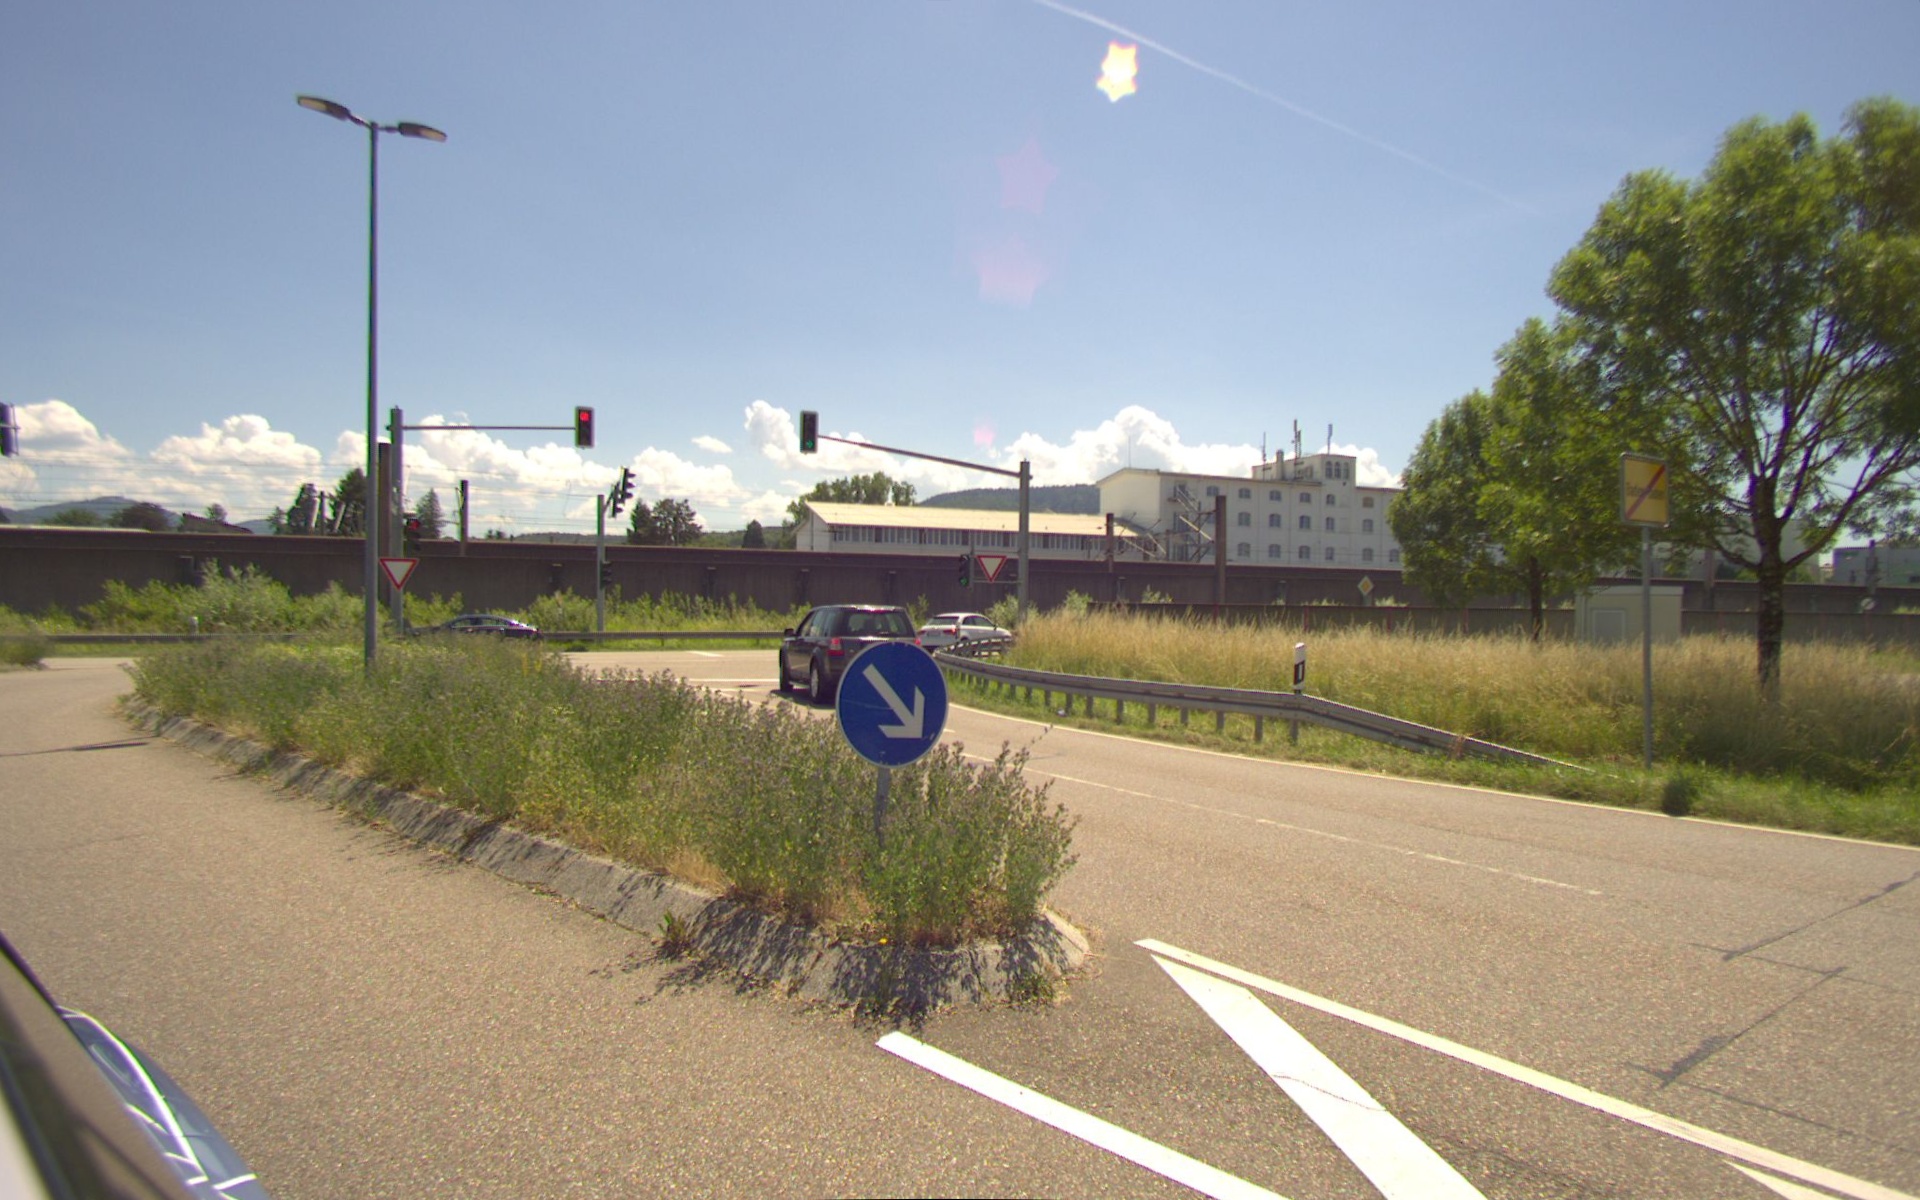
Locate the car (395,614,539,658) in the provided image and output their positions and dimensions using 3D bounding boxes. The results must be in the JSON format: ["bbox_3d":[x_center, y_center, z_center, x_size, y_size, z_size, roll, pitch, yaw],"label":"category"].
[{"bbox_3d":[-17.154,1.257,35.434,4.439,1.465,1.795,1,-1,-23],"label":"car"}]

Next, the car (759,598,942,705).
[{"bbox_3d":[-2.193,0.938,18.940,1.965,1.735,4.498,3,-3,-25],"label":"car"}]

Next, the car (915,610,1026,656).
[{"bbox_3d":[0.405,1.071,33.640,1.730,1.420,3.809,-1,-1,39],"label":"car"}]
